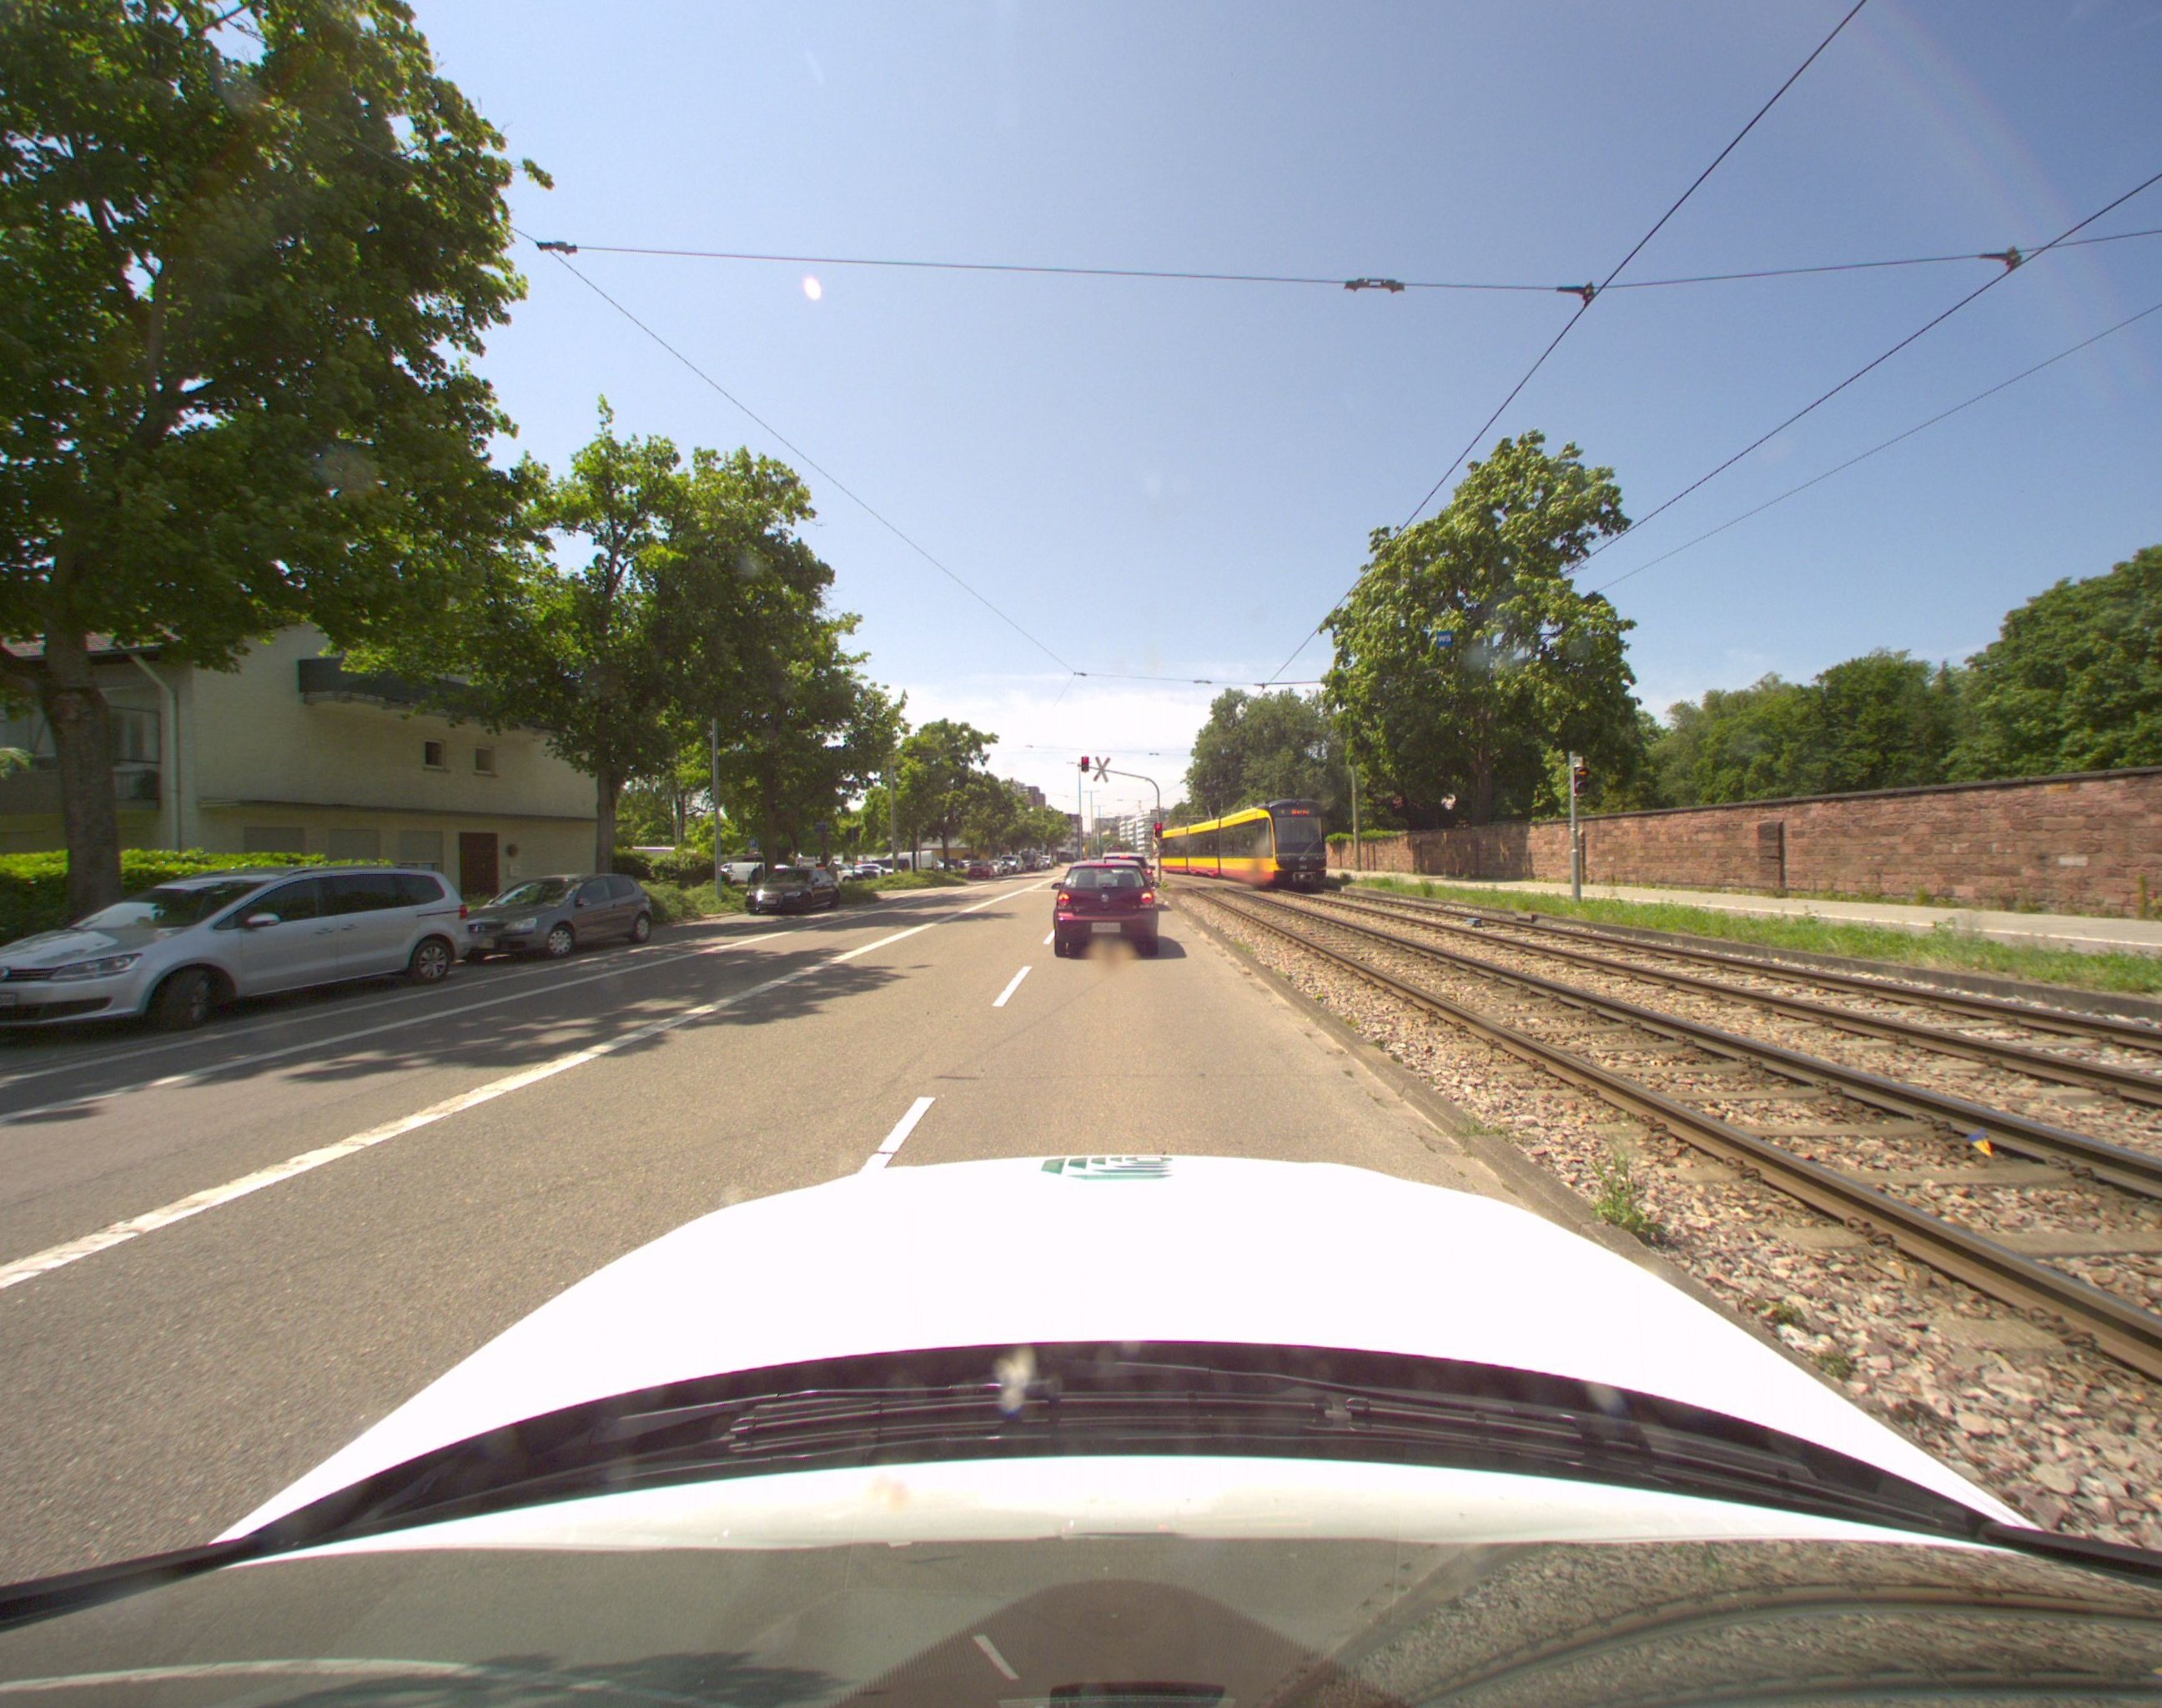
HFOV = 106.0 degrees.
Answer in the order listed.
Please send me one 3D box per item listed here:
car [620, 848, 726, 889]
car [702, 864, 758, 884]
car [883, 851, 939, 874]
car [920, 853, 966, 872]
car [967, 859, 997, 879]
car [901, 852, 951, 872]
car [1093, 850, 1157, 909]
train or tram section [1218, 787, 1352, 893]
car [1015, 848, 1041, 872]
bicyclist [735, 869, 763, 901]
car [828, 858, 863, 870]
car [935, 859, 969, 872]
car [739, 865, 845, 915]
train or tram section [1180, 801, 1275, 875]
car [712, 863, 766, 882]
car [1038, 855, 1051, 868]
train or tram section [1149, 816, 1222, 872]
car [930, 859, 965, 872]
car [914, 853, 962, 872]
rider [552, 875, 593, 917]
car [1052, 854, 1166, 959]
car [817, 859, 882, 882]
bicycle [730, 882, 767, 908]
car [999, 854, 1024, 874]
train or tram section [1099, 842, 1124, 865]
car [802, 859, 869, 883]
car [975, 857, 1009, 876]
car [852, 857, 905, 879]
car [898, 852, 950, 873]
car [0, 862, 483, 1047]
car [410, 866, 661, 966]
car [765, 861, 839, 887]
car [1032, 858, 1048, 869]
[{"bbox_3d":[-30.970,1.107,61.962,6.828,2.965,2.364,0,-1,0],"label":"car"},{"bbox_3d":[-29.923,1.709,69.490,3.982,1.653,1.812,1,-1,-7],"label":"car"},{"bbox_3d":[-16.996,0.846,81.636,5.076,2.244,2.380,0,-1,3],"label":"car"},{"bbox_3d":[-16.603,1.032,98.291,5.076,2.244,2.380,0,-1,3],"label":"car"},{"bbox_3d":[-7.850,1.191,64.846,1.655,1.497,4.004,0,-1,4],"label":"car"},{"bbox_3d":[-17.671,0.947,93.012,5.076,2.244,2.380,0,-1,3],"label":"car"},{"bbox_3d":[1.280,0.718,24.813,1.770,1.647,4.001,0,0,1],"label":"car"},{"bbox_3d":[8.595,-0.525,36.470,3.017,3.798,13.095,-2,0,2],"label":"train or tram section"},{"bbox_3d":[-6.139,0.702,94.662,2.352,2.692,5.311,0,-1,3],"label":"car"},{"bbox_3d":[-14.533,1.330,35.699,0.805,1.374,0.829,0,-1,5],"label":"bicyclist"},{"bbox_3d":[-30.984,1.338,107.080,4.006,1.617,1.816,0,-1,0],"label":"car"},{"bbox_3d":[-16.655,1.533,105.533,4.003,1.617,1.818,0,-1,3],"label":"car"},{"bbox_3d":[-9.482,1.136,27.107,1.812,1.476,4.450,0,0,2],"label":"car"},{"bbox_3d":[8.522,-0.854,49.425,3.020,3.798,13.081,-2,0,-1],"label":"train or tram section"},{"bbox_3d":[-30.114,1.610,71.818,3.982,1.653,1.812,1,-1,-7],"label":"car"},{"bbox_3d":[-5.262,1.119,117.937,1.771,1.828,3.995,1,-1,-3],"label":"car"},{"bbox_3d":[7.695,-0.675,62.180,3.022,3.798,12.741,-2,0,-4],"label":"train or tram section"},{"bbox_3d":[-16.827,1.487,102.454,4.003,1.617,1.818,0,-1,3],"label":"car"},{"bbox_3d":[-16.780,0.990,95.452,5.076,2.244,2.380,0,-1,3],"label":"car"},{"bbox_3d":[-17.586,1.441,28.188,0.820,1.374,0.814,-2,0,10],"label":"rider"},{"bbox_3d":[0.455,0.769,13.902,1.666,1.521,4.001,0,0,1],"label":"car"},{"bbox_3d":[-17.938,1.268,63.181,4.318,1.585,1.917,-2,0,8],"label":"car"},{"bbox_3d":[-14.531,1.784,35.669,0.697,1.030,1.831,0,-1,5],"label":"bicycle"},{"bbox_3d":[-6.926,0.995,81.626,1.774,1.882,4.792,0,-1,5],"label":"car"},{"bbox_3d":[4.960,-0.097,136.086,2.736,3.609,12.848,0,0,-5],"label":"train or tram section"},{"bbox_3d":[-18.160,1.273,60.372,4.319,1.585,1.917,-2,0,7],"label":"car"},{"bbox_3d":[-7.725,1.079,71.398,1.965,1.601,4.566,0,-1,7],"label":"car"},{"bbox_3d":[-17.684,1.210,71.214,3.973,1.746,1.998,-2,0,0],"label":"car"},{"bbox_3d":[-17.282,0.904,89.802,5.076,2.244,2.380,0,-1,3],"label":"car"},{"bbox_3d":[-10.185,0.984,10.102,1.866,1.664,4.783,-1,0,2],"label":"car"},{"bbox_3d":[-9.986,1.036,15.390,1.812,1.564,4.182,0,0,2],"label":"car"},{"bbox_3d":[-18.953,1.351,55.524,4.329,1.585,1.912,-2,0,-1],"label":"car"},{"bbox_3d":[-5.673,1.341,111.879,1.606,1.441,4.006,0,-1,6],"label":"car"}]
